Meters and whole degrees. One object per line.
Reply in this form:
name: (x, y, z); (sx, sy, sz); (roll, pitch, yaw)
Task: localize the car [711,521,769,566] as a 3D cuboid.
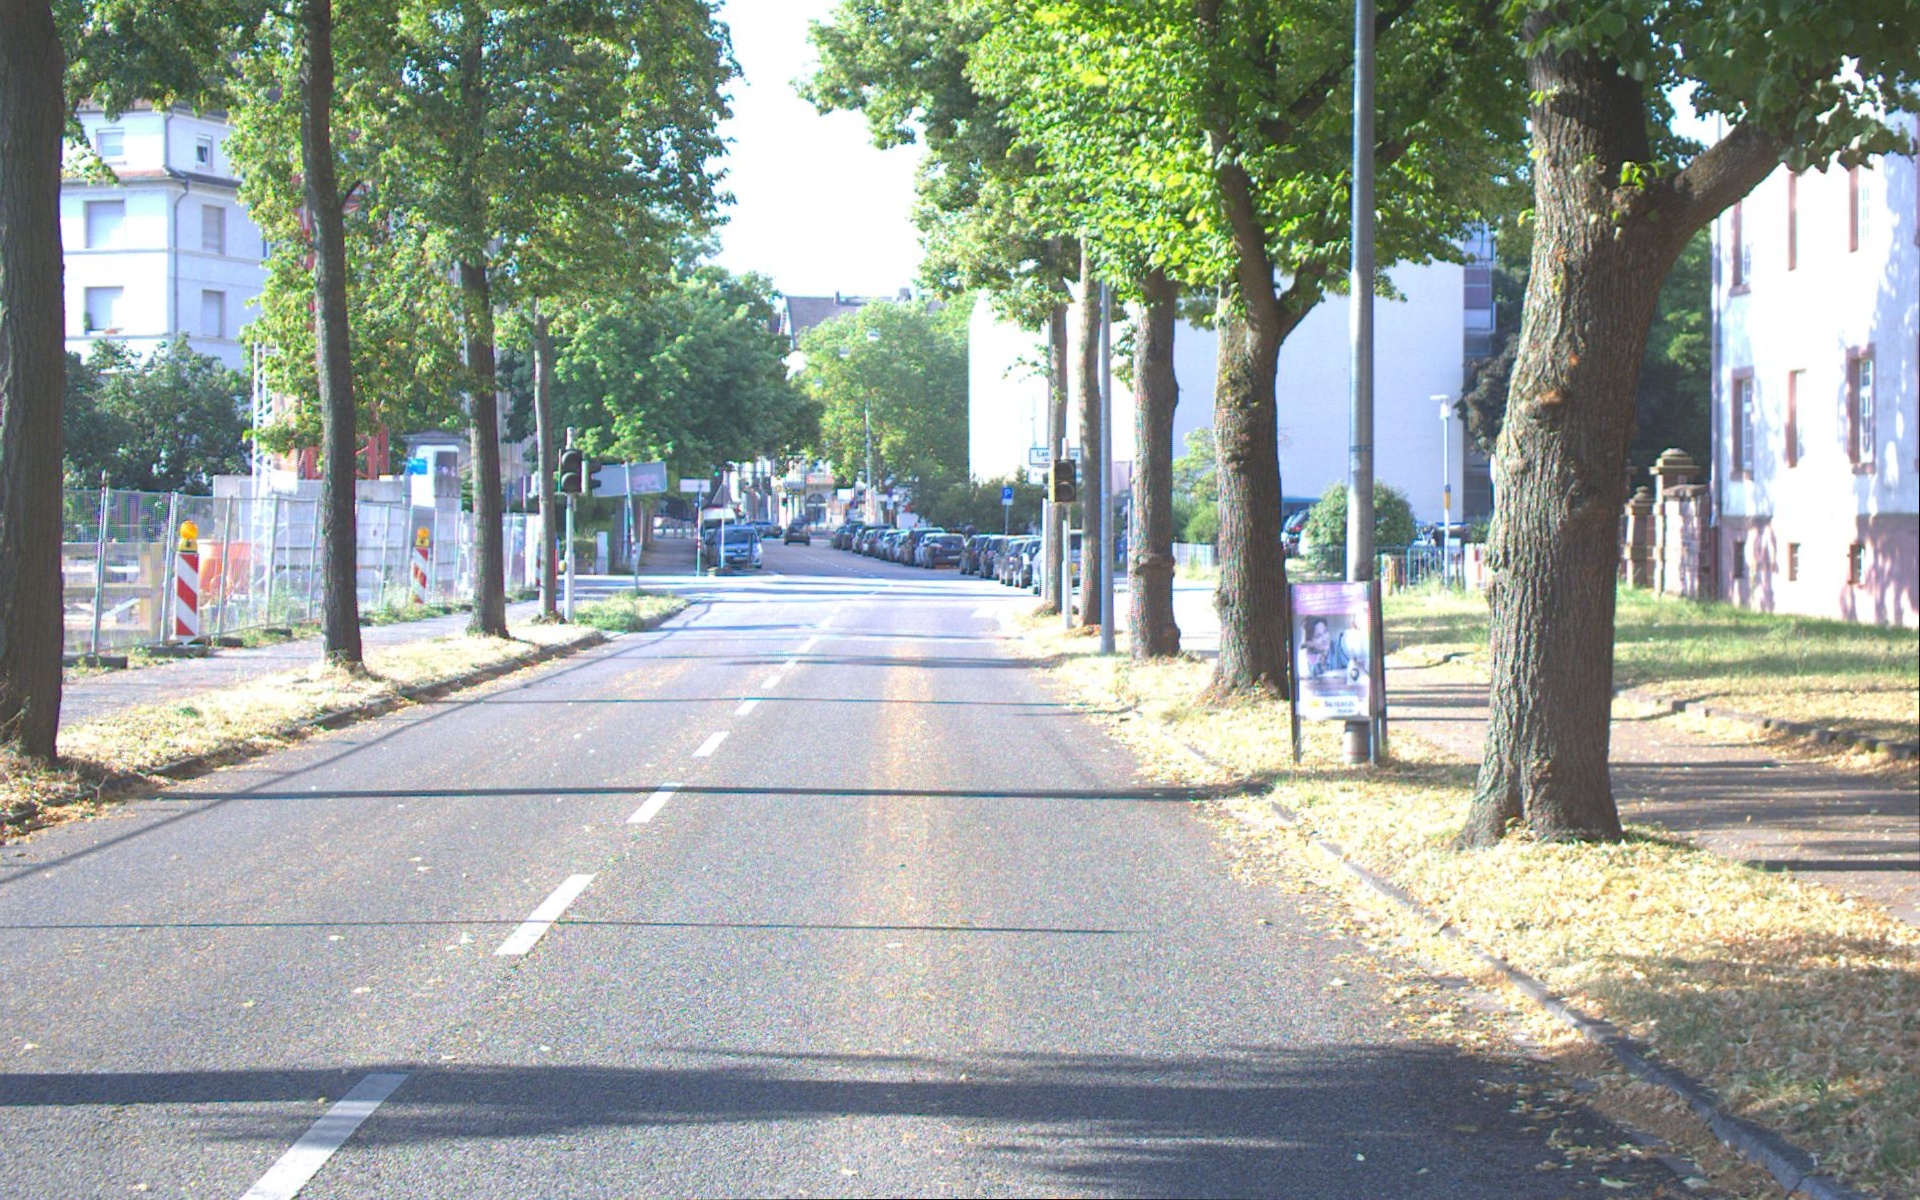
car: (-8.435, -2.146, 131.701); (1.993, 1.682, 4.001); (-1, 0, -6)

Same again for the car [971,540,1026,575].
car: (1.401, -1.567, 126.264); (1.841, 1.256, 4.000); (-1, 1, -1)

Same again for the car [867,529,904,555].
car: (-4.089, -3.159, 188.099); (1.841, 1.381, 4.001); (-1, 1, -4)

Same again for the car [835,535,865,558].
car: (-6.939, -3.396, 217.494); (1.841, 1.381, 4.000); (-1, 1, -2)

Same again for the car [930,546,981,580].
car: (-0.208, -1.551, 144.553); (1.841, 1.381, 4.001); (-1, 1, -4)

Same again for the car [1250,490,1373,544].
car: (11.940, -2.819, 116.856); (3.987, 1.722, 1.773); (1, 1, 1)

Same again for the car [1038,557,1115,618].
car: (3.113, -0.351, 92.448); (1.841, 1.568, 4.000); (-1, 1, -1)

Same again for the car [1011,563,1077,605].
car: (2.514, -0.497, 103.571); (1.779, 1.223, 4.000); (-1, 1, -1)

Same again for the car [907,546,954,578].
car: (-1.330, -1.729, 155.463); (1.841, 1.381, 4.001); (-1, 1, -4)

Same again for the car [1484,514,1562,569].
car: (17.090, -1.759, 104.451); (1.812, 1.554, 3.625); (1, 0, 2)

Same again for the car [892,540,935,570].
car: (-2.284, -2.192, 167.271); (1.841, 1.381, 4.001); (-1, 1, -4)

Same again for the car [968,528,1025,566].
car: (1.250, -1.841, 119.797); (1.841, 1.256, 4.000); (-1, 1, -1)

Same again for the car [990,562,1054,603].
car: (1.941, -0.572, 109.071); (1.841, 1.256, 4.000); (-1, 1, -1)

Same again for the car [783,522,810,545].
car: (-11.338, -4.579, 238.018); (1.714, 1.481, 4.001); (-1, 1, -4)
